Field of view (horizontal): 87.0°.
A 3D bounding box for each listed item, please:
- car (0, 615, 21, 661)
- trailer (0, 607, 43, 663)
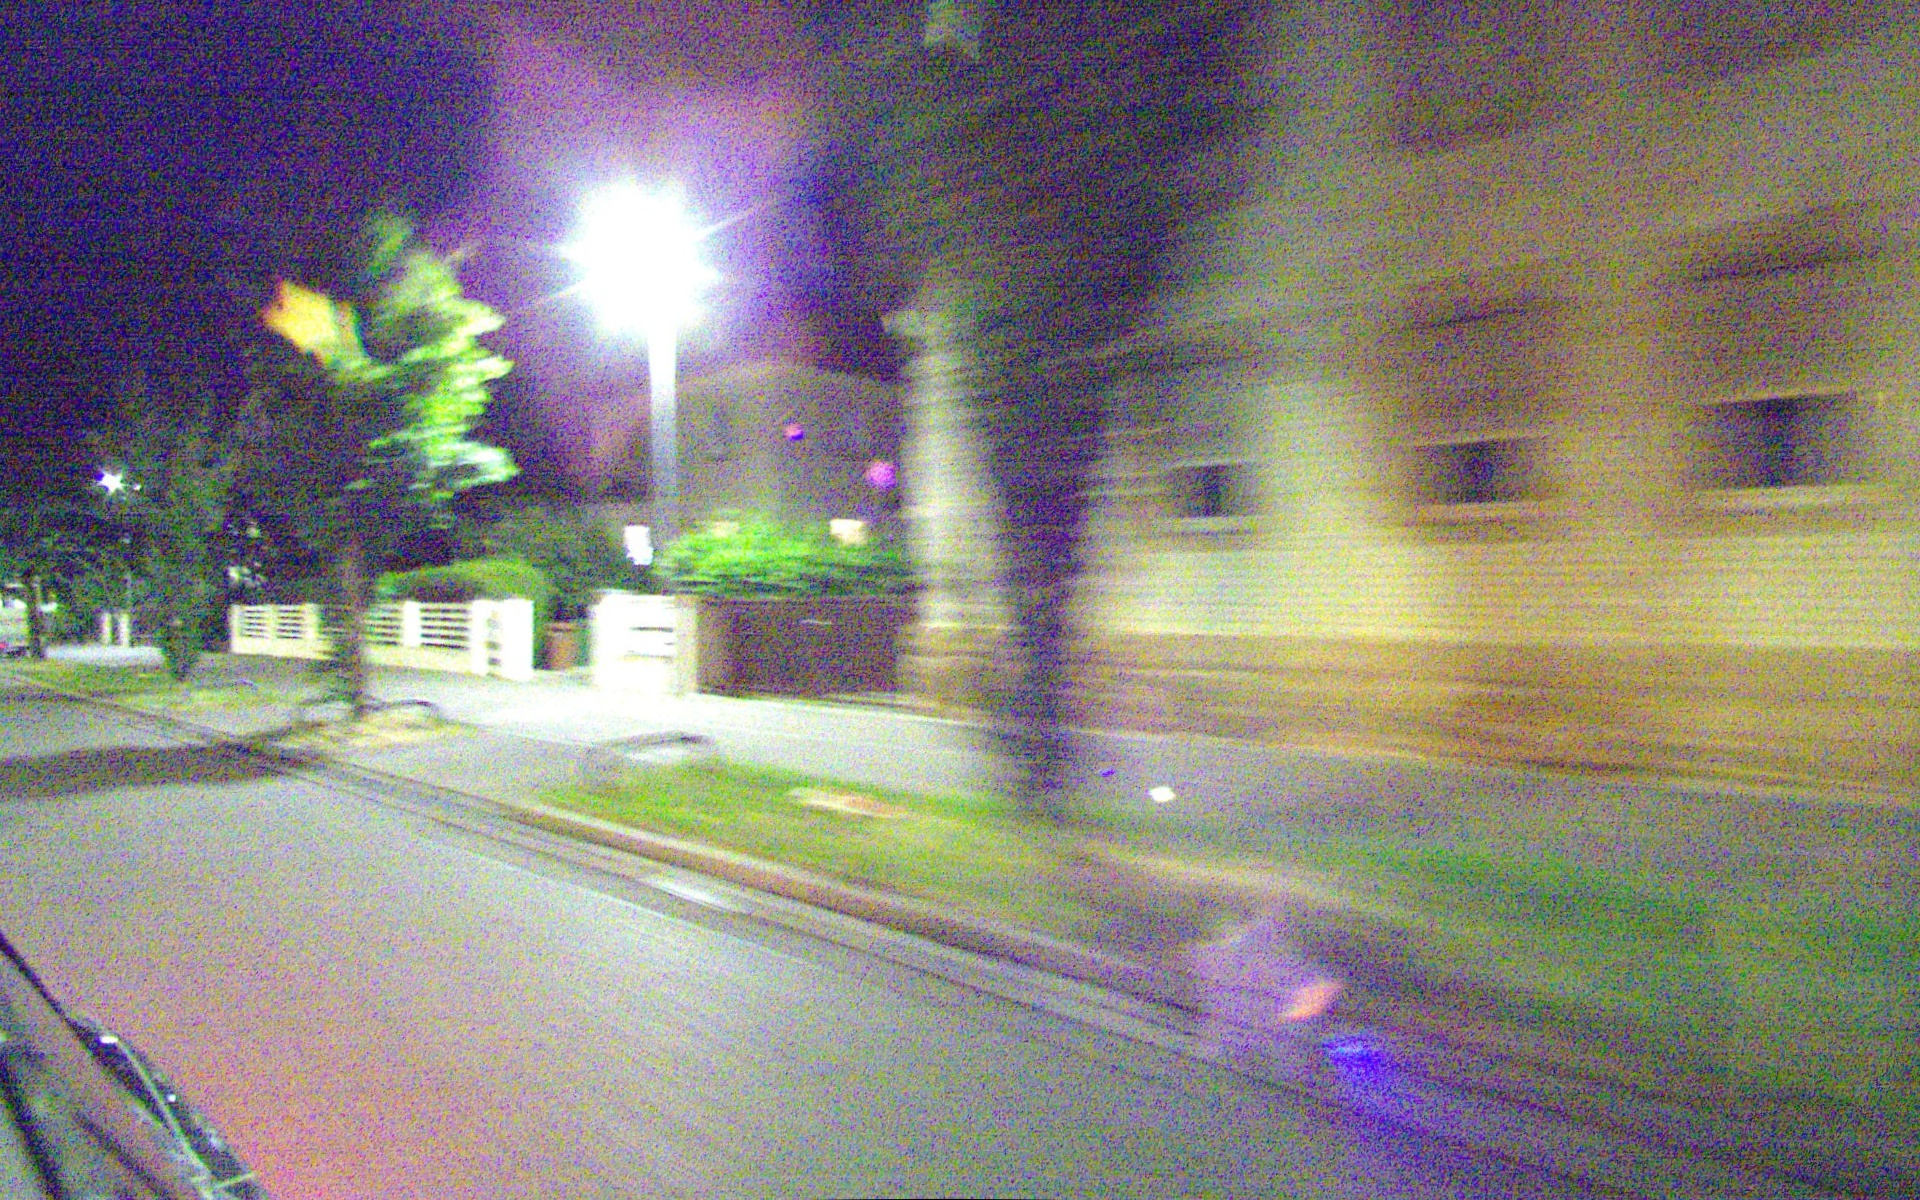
[{"bbox_3d":[-34.033,1.353,35.135,2.976,1.533,1.655,-1,3,40],"label":"car"},{"bbox_3d":[-31.352,1.149,33.282,3.426,1.700,1.432,-1,3,44],"label":"trailer"}]
